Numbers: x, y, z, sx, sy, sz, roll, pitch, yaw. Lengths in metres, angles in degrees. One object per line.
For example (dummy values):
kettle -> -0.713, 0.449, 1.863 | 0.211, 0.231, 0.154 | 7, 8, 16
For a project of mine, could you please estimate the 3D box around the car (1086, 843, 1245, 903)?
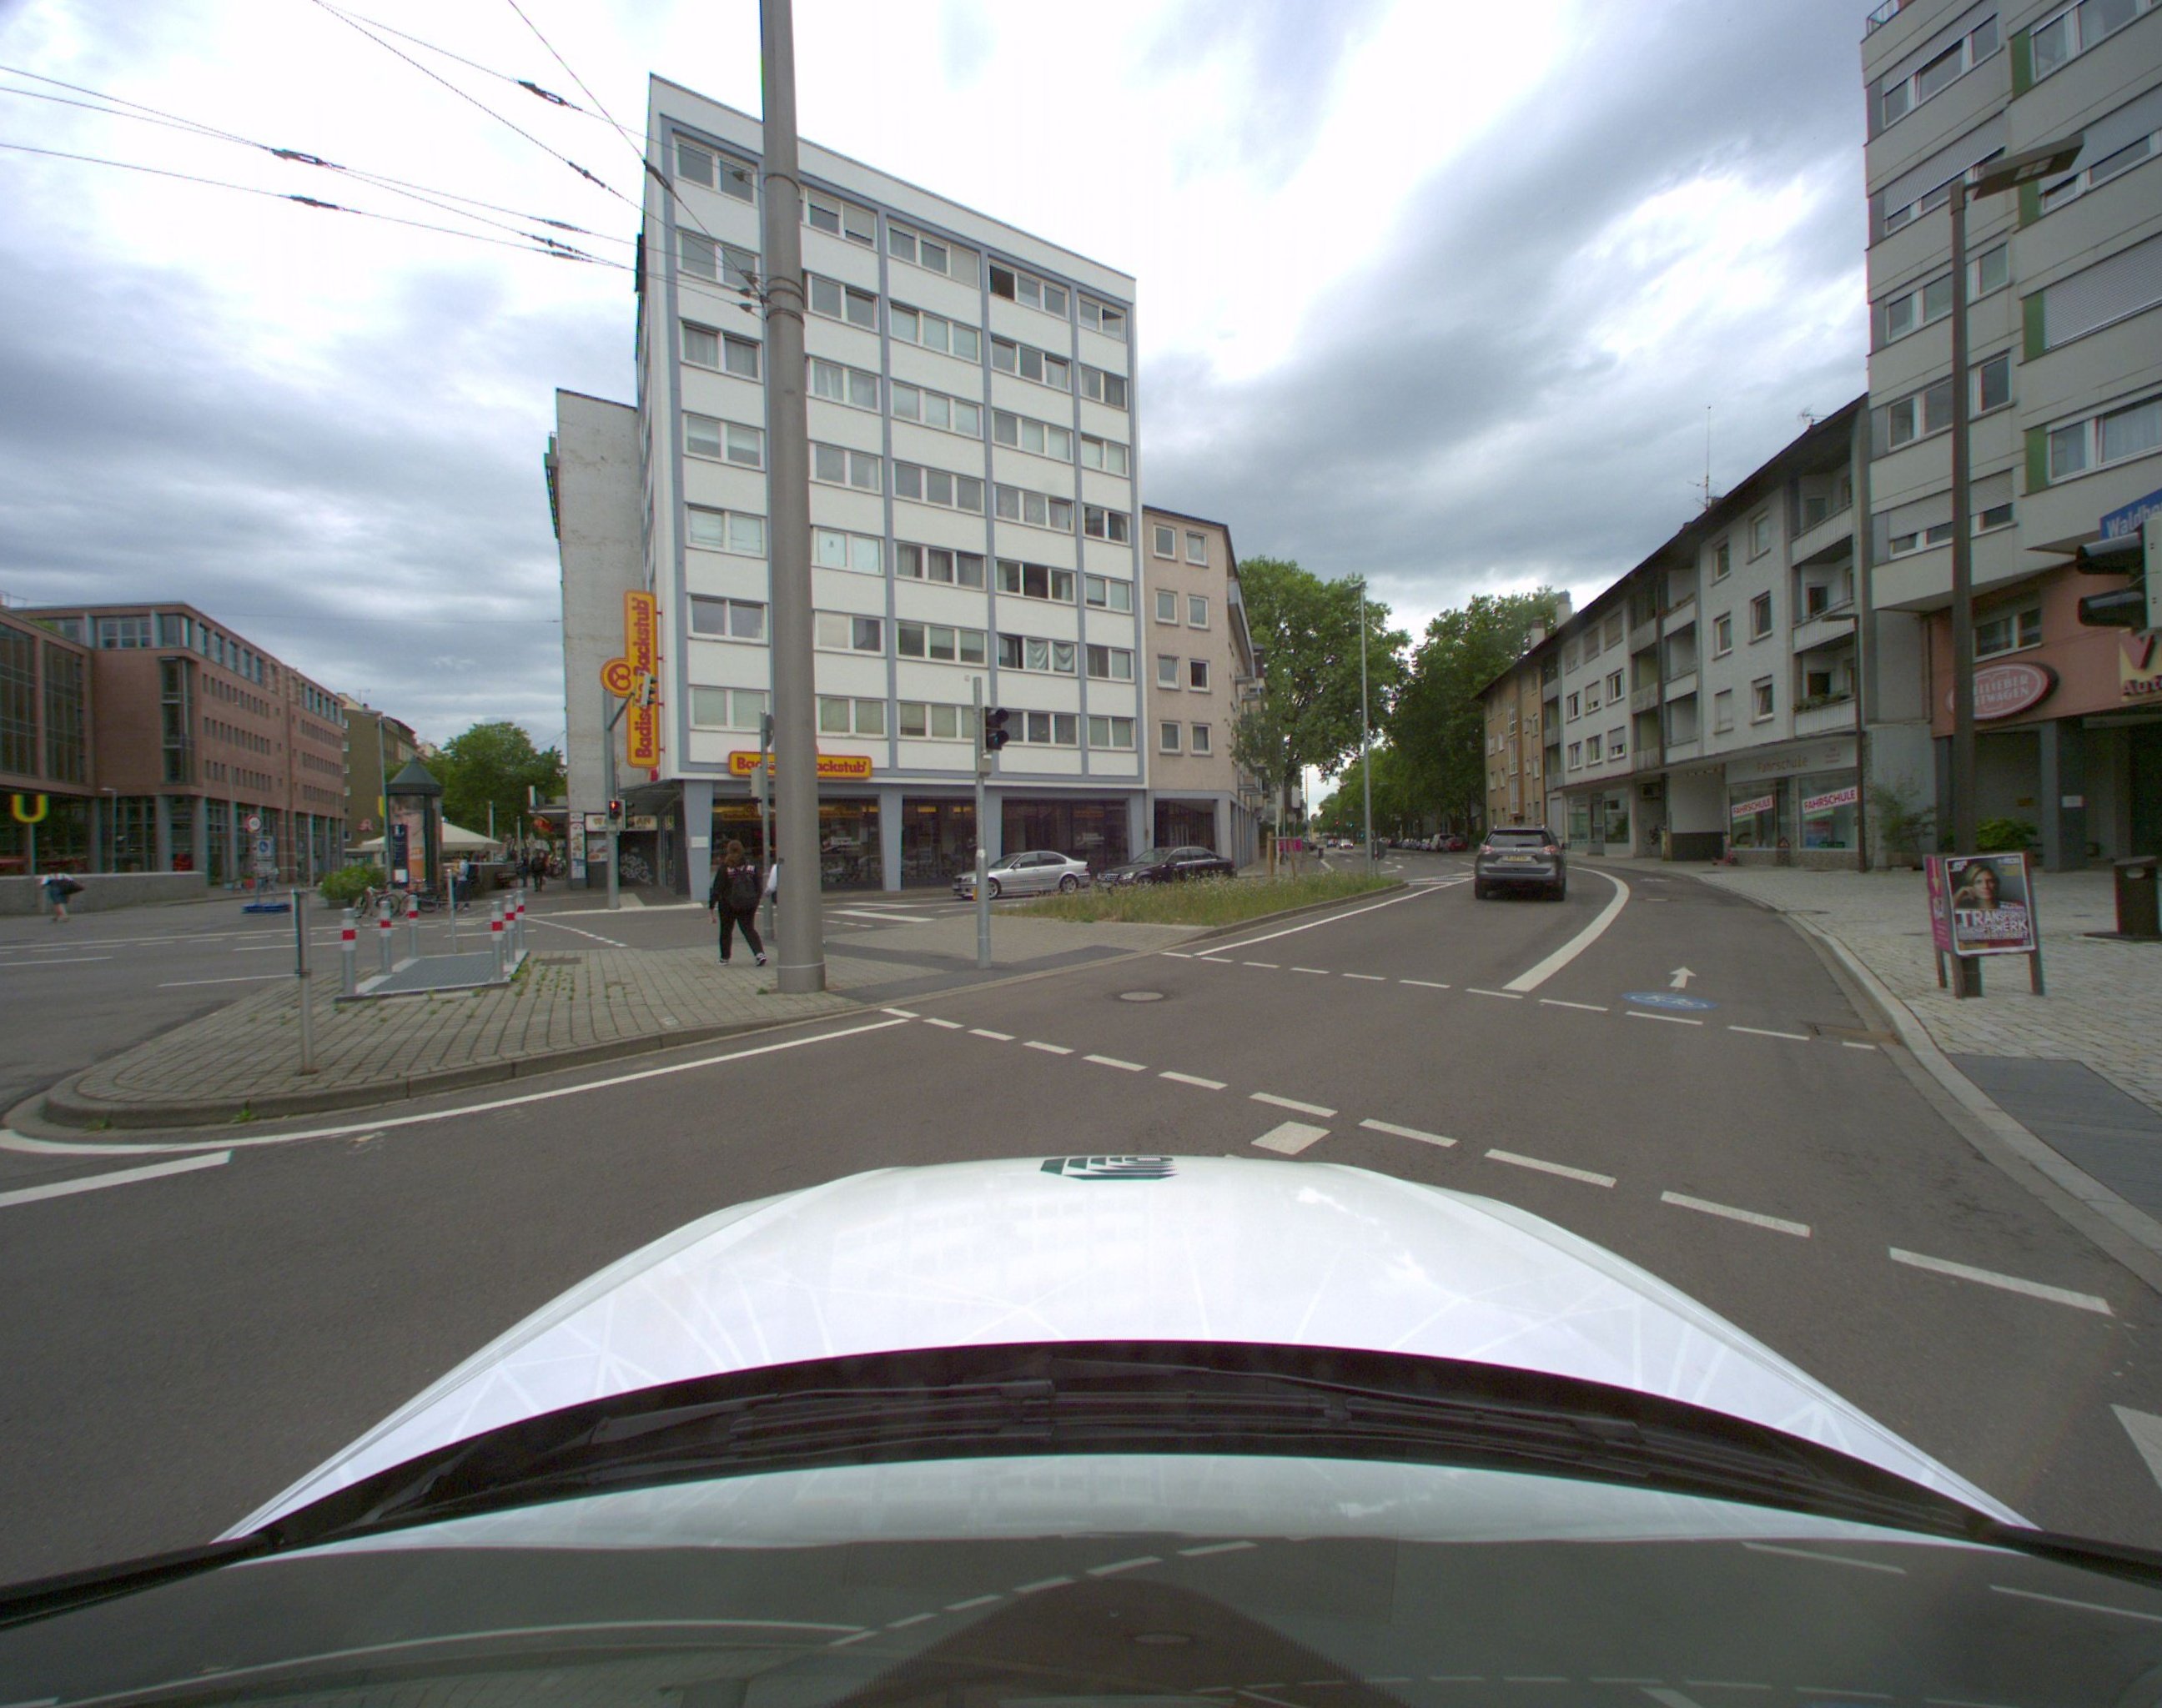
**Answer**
car -> 2.536, 0.508, 23.951 | 4.585, 1.481, 1.730 | -3, 0, -34

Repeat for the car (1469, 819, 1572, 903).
car -> 10.643, 0.082, 19.556 | 1.845, 1.774, 4.596 | 0, 1, 32

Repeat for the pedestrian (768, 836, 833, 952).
pedestrian -> -4.672, 0.638, 13.557 | 0.718, 1.832, 1.005 | 0, -1, -39

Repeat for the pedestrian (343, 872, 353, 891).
pedestrian -> -67.861, 2.537, 75.405 | 0.605, 1.714, 0.648 | 0, -1, -38

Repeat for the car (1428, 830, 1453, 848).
car -> 37.345, -1.576, 84.700 | 1.849, 1.774, 4.001 | 0, 1, 16

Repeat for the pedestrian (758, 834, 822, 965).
pedestrian -> -4.115, 0.616, 11.500 | 0.626, 1.761, 0.771 | 0, -1, -39

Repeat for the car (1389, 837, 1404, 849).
car -> 49.039, -1.769, 126.684 | 1.849, 1.774, 4.001 | 0, 1, 16

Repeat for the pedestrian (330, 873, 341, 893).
pedestrian -> -63.137, 2.464, 68.962 | 0.605, 1.714, 0.648 | 0, -1, -38

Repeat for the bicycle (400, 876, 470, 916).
bicycle -> -20.104, 1.290, 25.382 | 1.709, 1.172, 0.432 | -1, 0, -38

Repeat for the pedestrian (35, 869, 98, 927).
pedestrian -> -30.653, 1.305, 24.624 | 0.926, 1.705, 0.731 | -1, 0, -12

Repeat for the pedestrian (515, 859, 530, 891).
pedestrian -> -30.347, 1.123, 44.251 | 0.647, 1.705, 0.553 | 0, -1, -30

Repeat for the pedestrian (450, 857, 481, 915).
pedestrian -> -18.797, 0.960, 24.874 | 0.738, 1.746, 0.655 | 0, -1, -39

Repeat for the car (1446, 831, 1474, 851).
car -> 35.670, -1.233, 76.767 | 1.849, 1.774, 4.001 | 0, 1, 16

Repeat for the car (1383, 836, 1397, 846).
car -> 53.878, -2.254, 142.030 | 1.849, 1.774, 4.001 | 0, 1, 16

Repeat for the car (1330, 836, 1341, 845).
car -> 50.237, -2.653, 160.820 | 1.849, 1.774, 4.001 | 0, 1, 16

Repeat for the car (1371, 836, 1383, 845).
car -> 57.015, -2.610, 156.790 | 1.849, 1.774, 4.001 | 0, 1, 16

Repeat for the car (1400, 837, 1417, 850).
car -> 46.053, -1.534, 114.537 | 1.849, 1.774, 4.001 | 0, 1, 16

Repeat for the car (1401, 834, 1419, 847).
car -> 44.180, -1.852, 109.516 | 1.849, 1.774, 4.001 | 0, 1, 16

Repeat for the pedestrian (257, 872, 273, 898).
pedestrian -> -49.672, 1.874, 49.562 | 0.605, 1.536, 0.648 | 0, -1, -38

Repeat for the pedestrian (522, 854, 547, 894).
pedestrian -> -23.965, 0.877, 35.721 | 0.712, 1.705, 0.730 | -1, 0, -19

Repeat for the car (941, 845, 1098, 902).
car -> -1.873, 0.556, 25.374 | 4.585, 1.481, 1.730 | -3, 0, -34

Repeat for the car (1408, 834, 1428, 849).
car -> 41.199, -1.580, 99.516 | 1.849, 1.774, 4.001 | 0, 1, 16

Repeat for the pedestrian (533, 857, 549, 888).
pedestrian -> -32.113, 1.081, 48.439 | 0.743, 1.821, 0.655 | -2, 0, -33

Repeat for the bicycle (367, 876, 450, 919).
bicycle -> -20.137, 1.288, 24.415 | 0.524, 1.172, 1.884 | -1, 0, 45

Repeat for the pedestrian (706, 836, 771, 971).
pedestrian -> -4.672, 0.650, 11.105 | 0.626, 1.761, 0.771 | 0, -1, -39

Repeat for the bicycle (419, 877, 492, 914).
bicycle -> -19.218, 1.277, 25.044 | 1.704, 1.065, 0.434 | -1, 0, -25

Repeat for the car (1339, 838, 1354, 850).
car -> 38.510, -1.448, 118.193 | 1.849, 1.774, 4.001 | 0, 1, 16
